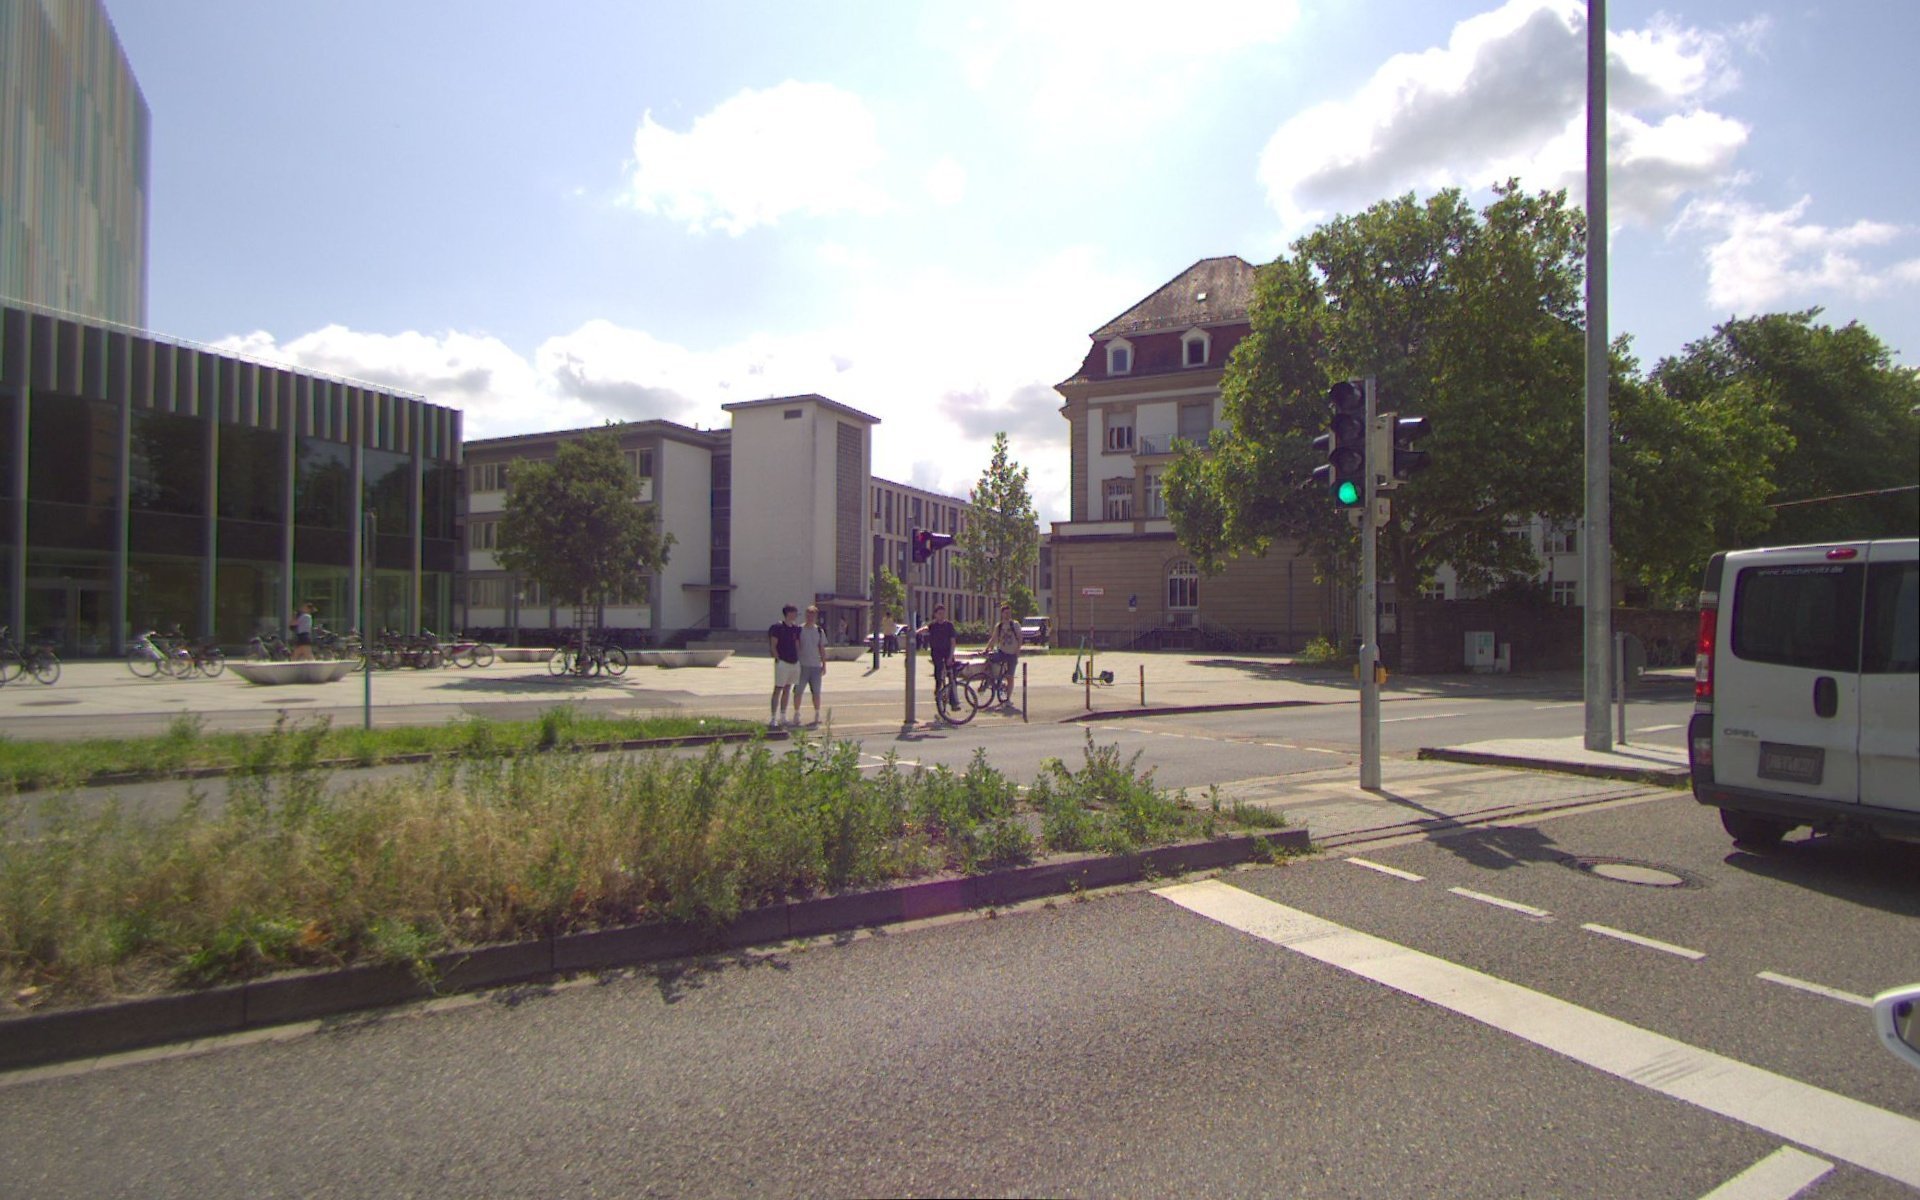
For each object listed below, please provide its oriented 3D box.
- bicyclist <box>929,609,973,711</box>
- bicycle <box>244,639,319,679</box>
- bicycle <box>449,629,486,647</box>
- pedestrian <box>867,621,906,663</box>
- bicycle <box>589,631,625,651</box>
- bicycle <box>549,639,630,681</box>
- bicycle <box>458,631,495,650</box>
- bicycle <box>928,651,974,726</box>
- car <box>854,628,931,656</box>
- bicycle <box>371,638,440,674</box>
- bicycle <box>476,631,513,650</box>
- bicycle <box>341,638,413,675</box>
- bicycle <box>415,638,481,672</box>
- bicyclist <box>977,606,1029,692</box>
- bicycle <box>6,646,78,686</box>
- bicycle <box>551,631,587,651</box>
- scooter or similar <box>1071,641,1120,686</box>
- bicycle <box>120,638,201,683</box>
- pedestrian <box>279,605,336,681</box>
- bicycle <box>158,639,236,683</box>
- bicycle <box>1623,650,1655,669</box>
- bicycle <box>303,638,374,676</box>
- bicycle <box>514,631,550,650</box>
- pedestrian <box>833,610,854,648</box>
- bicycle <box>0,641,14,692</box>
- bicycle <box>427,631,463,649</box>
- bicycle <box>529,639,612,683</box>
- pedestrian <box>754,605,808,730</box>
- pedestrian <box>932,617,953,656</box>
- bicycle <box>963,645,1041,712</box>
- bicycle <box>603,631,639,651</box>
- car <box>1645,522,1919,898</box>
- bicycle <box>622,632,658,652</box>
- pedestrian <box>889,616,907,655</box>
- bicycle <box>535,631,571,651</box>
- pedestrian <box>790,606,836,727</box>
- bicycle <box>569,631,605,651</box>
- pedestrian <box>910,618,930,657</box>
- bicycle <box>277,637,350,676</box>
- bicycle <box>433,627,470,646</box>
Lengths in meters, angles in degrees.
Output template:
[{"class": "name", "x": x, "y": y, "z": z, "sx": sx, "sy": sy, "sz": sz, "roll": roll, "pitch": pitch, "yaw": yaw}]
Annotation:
[{"class": "bicyclist", "x": -0.160, "y": 0.986, "z": 16.675, "sx": 0.645, "sy": 1.637, "sz": 0.999, "roll": 0, "pitch": -1, "yaw": -5}, {"class": "bicycle", "x": -17.311, "y": 1.488, "z": 25.643, "sx": 1.737, "sy": 0.968, "sz": 0.529, "roll": 1, "pitch": -1, "yaw": 13}, {"class": "bicycle", "x": -26.718, "y": 2.073, "z": 54.523, "sx": 0.520, "sy": 0.968, "sz": 1.770, "roll": 2, "pitch": -1, "yaw": 31}, {"class": "pedestrian", "x": -2.978, "y": 1.688, "z": 40.640, "sx": 1.279, "sy": 1.673, "sz": 1.321, "roll": 1, "pitch": -2, "yaw": -18}, {"class": "bicycle", "x": -17.863, "y": 2.087, "z": 50.868, "sx": 0.520, "sy": 0.968, "sz": 1.770, "roll": 2, "pitch": -1, "yaw": 31}, {"class": "bicycle", "x": -8.841, "y": 1.423, "z": 23.964, "sx": 1.737, "sy": 0.968, "sz": 0.529, "roll": 1, "pitch": -1, "yaw": 7}, {"class": "bicycle", "x": -25.978, "y": 2.168, "z": 53.996, "sx": 0.520, "sy": 0.968, "sz": 1.770, "roll": 2, "pitch": -1, "yaw": 31}, {"class": "bicycle", "x": -0.170, "y": 1.441, "z": 16.664, "sx": 0.682, "sy": 1.139, "sz": 1.671, "roll": 0, "pitch": -1, "yaw": -3}, {"class": "car", "x": -3.486, "y": 2.158, "z": 52.898, "sx": 1.963, "sy": 1.323, "sz": 4.488, "roll": 1, "pitch": 0, "yaw": 27}, {"class": "bicycle", "x": -15.829, "y": 1.594, "z": 28.676, "sx": 1.737, "sy": 0.968, "sz": 0.529, "roll": 1, "pitch": -1, "yaw": 7}, {"class": "bicycle", "x": -24.790, "y": 2.177, "z": 53.497, "sx": 0.520, "sy": 0.968, "sz": 1.770, "roll": 2, "pitch": -1, "yaw": 31}, {"class": "bicycle", "x": -16.245, "y": 1.565, "z": 27.998, "sx": 1.737, "sy": 0.968, "sz": 0.529, "roll": 1, "pitch": -1, "yaw": 7}, {"class": "bicycle", "x": -15.226, "y": 1.622, "z": 29.904, "sx": 1.737, "sy": 0.968, "sz": 0.529, "roll": 1, "pitch": -1, "yaw": 7}, {"class": "bicyclist", "x": 0.810, "y": 0.908, "z": 18.880, "sx": 0.646, "sy": 1.559, "sz": 0.783, "roll": 0, "pitch": -1, "yaw": 35}, {"class": "bicycle", "x": -19.158, "y": 1.366, "z": 20.957, "sx": 1.741, "sy": 0.774, "sz": 0.528, "roll": 0, "pitch": -1, "yaw": 28}, {"class": "bicycle", "x": -20.221, "y": 2.124, "z": 51.928, "sx": 0.520, "sy": 0.968, "sz": 1.770, "roll": 2, "pitch": -1, "yaw": 31}, {"class": "scooter or similar", "x": 3.344, "y": 1.550, "z": 24.736, "sx": 1.131, "sy": 1.081, "sz": 0.402, "roll": -1, "pitch": -2, "yaw": 32}, {"class": "bicycle", "x": -18.395, "y": 1.374, "z": 23.122, "sx": 1.738, "sy": 0.968, "sz": 0.529, "roll": 1, "pitch": -1, "yaw": 16}, {"class": "pedestrian", "x": -14.873, "y": 0.982, "z": 22.933, "sx": 1.003, "sy": 1.672, "sz": 1.173, "roll": 1, "pitch": -2, "yaw": -30}, {"class": "bicycle", "x": -18.176, "y": 1.439, "z": 23.926, "sx": 1.738, "sy": 0.968, "sz": 0.529, "roll": 1, "pitch": -1, "yaw": 16}, {"class": "bicycle", "x": 25.907, "y": 2.272, "z": 38.353, "sx": 0.990, "sy": 0.691, "sz": 0.407, "roll": 1, "pitch": 0, "yaw": 35}, {"class": "bicycle", "x": -16.716, "y": 1.524, "z": 27.022, "sx": 1.737, "sy": 0.968, "sz": 0.529, "roll": 1, "pitch": -1, "yaw": 13}, {"class": "bicycle", "x": -22.405, "y": 2.139, "z": 52.591, "sx": 0.520, "sy": 0.968, "sz": 1.770, "roll": 2, "pitch": -1, "yaw": 31}, {"class": "pedestrian", "x": -5.579, "y": 1.380, "z": 48.155, "sx": 0.664, "sy": 1.813, "sz": 0.843, "roll": 0, "pitch": -1, "yaw": 22}, {"class": "bicycle", "x": -19.601, "y": 1.328, "z": 20.275, "sx": 1.746, "sy": 0.968, "sz": 0.526, "roll": 0, "pitch": -1, "yaw": 40}, {"class": "bicycle", "x": -28.517, "y": 2.212, "z": 55.653, "sx": 0.520, "sy": 0.968, "sz": 1.770, "roll": 2, "pitch": -1, "yaw": 31}, {"class": "bicycle", "x": -9.070, "y": 1.417, "z": 23.393, "sx": 1.737, "sy": 0.968, "sz": 0.529, "roll": 1, "pitch": -1, "yaw": 7}, {"class": "pedestrian", "x": -2.732, "y": 1.017, "z": 15.363, "sx": 0.473, "sy": 1.866, "sz": 0.629, "roll": 0, "pitch": -1, "yaw": 45}, {"class": "pedestrian", "x": -0.833, "y": 1.736, "z": 47.469, "sx": 0.851, "sy": 1.813, "sz": 0.842, "roll": 0, "pitch": -1, "yaw": -12}, {"class": "bicycle", "x": 0.807, "y": 1.449, "z": 18.872, "sx": 0.683, "sy": 1.139, "sz": 1.666, "roll": 0, "pitch": -1, "yaw": 34}, {"class": "bicycle", "x": -17.007, "y": 2.057, "z": 50.476, "sx": 0.520, "sy": 0.968, "sz": 1.770, "roll": 2, "pitch": -1, "yaw": 31}, {"class": "car", "x": 7.161, "y": 0.617, "z": 6.854, "sx": 5.129, "sy": 1.981, "sz": 1.998, "roll": 1, "pitch": 0, "yaw": -28}, {"class": "bicycle", "x": -15.861, "y": 2.080, "z": 49.822, "sx": 0.520, "sy": 0.968, "sz": 1.769, "roll": 2, "pitch": -1, "yaw": 33}, {"class": "pedestrian", "x": -2.933, "y": 1.663, "z": 47.456, "sx": 0.799, "sy": 1.813, "sz": 0.843, "roll": 0, "pitch": -1, "yaw": -4}, {"class": "bicycle", "x": -21.216, "y": 2.140, "z": 52.354, "sx": 0.520, "sy": 0.968, "sz": 1.770, "roll": 2, "pitch": -1, "yaw": 31}, {"class": "pedestrian", "x": -2.325, "y": 1.032, "z": 15.863, "sx": 0.570, "sy": 1.866, "sz": 0.411, "roll": 1, "pitch": -1, "yaw": -36}, {"class": "bicycle", "x": -19.058, "y": 2.108, "z": 51.353, "sx": 0.520, "sy": 0.968, "sz": 1.770, "roll": 2, "pitch": -1, "yaw": 31}, {"class": "pedestrian", "x": -1.886, "y": 1.760, "z": 47.335, "sx": 0.876, "sy": 1.813, "sz": 0.843, "roll": 0, "pitch": -1, "yaw": -6}, {"class": "bicycle", "x": -16.968, "y": 1.476, "z": 26.373, "sx": 1.737, "sy": 0.968, "sz": 0.529, "roll": 1, "pitch": -1, "yaw": 13}, {"class": "bicycle", "x": -27.923, "y": 2.014, "z": 55.184, "sx": 0.520, "sy": 0.968, "sz": 1.770, "roll": 2, "pitch": -1, "yaw": 31}]
